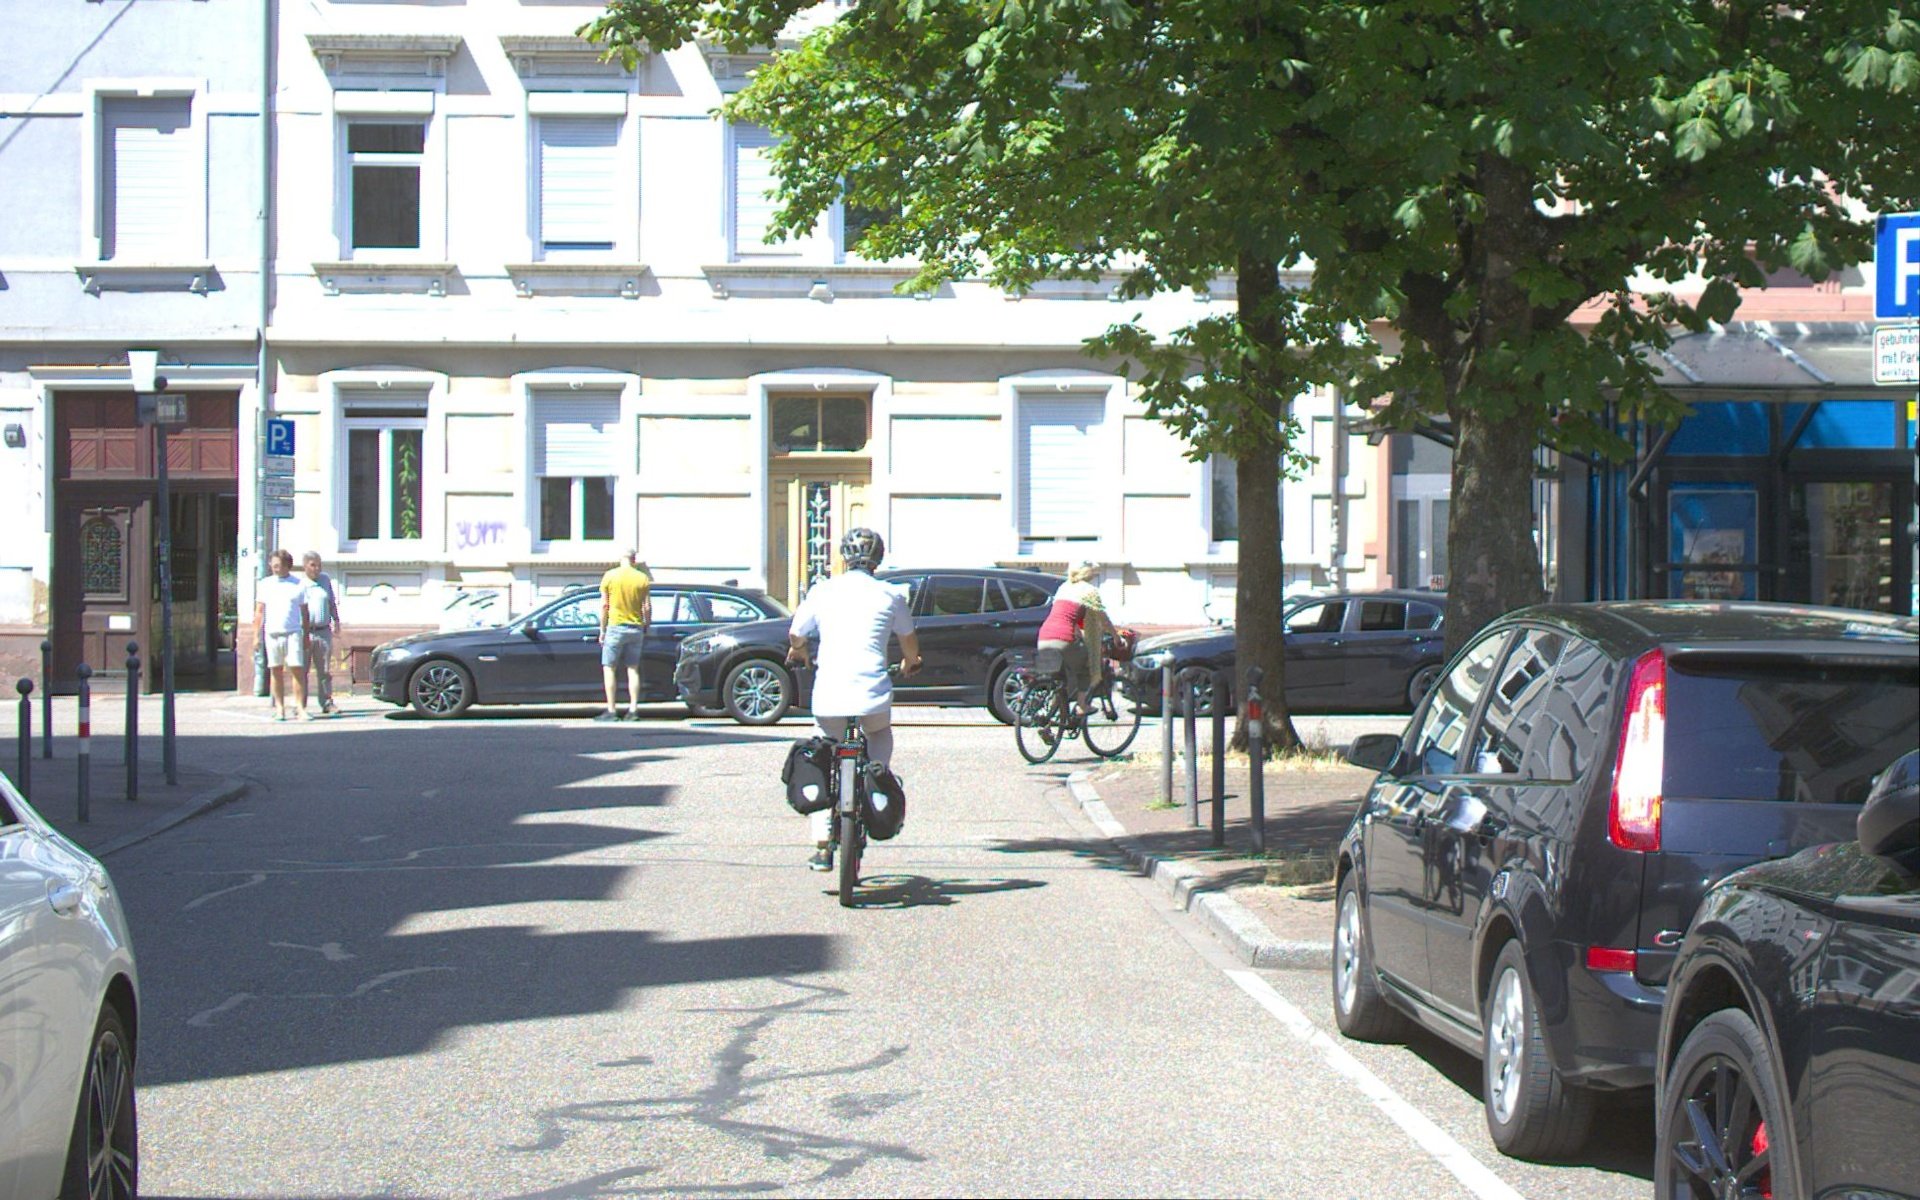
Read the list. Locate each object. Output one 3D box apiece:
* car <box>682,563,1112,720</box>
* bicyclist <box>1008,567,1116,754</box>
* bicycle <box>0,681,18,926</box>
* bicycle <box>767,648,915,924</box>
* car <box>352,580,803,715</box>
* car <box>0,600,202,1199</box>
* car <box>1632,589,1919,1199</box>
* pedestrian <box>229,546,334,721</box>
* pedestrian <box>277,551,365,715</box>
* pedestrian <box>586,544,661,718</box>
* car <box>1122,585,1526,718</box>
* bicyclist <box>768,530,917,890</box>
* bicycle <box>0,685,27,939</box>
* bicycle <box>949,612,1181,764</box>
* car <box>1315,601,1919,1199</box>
[{"bbox_3d":[-0.650,0.404,34.673,4.223,1.514,1.807,0,0,-2],"label":"car"},{"bbox_3d":[0.852,0.495,28.656,0.672,1.528,0.608,0,0,36],"label":"bicyclist"},{"bbox_3d":[-5.426,0.916,15.892,1.994,1.126,0.436,2,0,-6],"label":"bicycle"},{"bbox_3d":[-0.590,0.883,17.217,0.652,1.224,2.441,2,0,-2],"label":"bicycle"},{"bbox_3d":[-4.187,0.512,38.304,4.859,1.432,2.000,0,0,-2],"label":"car"},{"bbox_3d":[-2.579,0.763,5.654,1.841,1.456,4.363,-2,0,-3],"label":"car"},{"bbox_3d":[2.524,0.817,5.396,1.735,1.591,4.348,2,0,-5],"label":"car"},{"bbox_3d":[-7.404,0.358,37.559,0.850,1.882,0.935,0,0,8],"label":"pedestrian"},{"bbox_3d":[-7.153,0.362,38.503,0.901,1.808,0.960,0,0,-7],"label":"pedestrian"},{"bbox_3d":[-3.626,0.327,37.009,0.724,1.847,0.685,0,0,-12],"label":"pedestrian"},{"bbox_3d":[4.041,0.560,38.599,4.293,1.365,1.807,0,3,-2],"label":"car"},{"bbox_3d":[-0.585,0.541,17.254,0.670,1.754,0.609,2,0,-1],"label":"bicyclist"},{"bbox_3d":[-5.266,0.900,15.453,1.971,1.126,0.395,3,0,-6],"label":"bicycle"},{"bbox_3d":[0.901,0.726,28.717,0.653,1.205,2.436,2,0,36],"label":"bicycle"},{"bbox_3d":[2.275,0.811,10.900,1.663,1.535,4.178,2,0,-2],"label":"car"}]
